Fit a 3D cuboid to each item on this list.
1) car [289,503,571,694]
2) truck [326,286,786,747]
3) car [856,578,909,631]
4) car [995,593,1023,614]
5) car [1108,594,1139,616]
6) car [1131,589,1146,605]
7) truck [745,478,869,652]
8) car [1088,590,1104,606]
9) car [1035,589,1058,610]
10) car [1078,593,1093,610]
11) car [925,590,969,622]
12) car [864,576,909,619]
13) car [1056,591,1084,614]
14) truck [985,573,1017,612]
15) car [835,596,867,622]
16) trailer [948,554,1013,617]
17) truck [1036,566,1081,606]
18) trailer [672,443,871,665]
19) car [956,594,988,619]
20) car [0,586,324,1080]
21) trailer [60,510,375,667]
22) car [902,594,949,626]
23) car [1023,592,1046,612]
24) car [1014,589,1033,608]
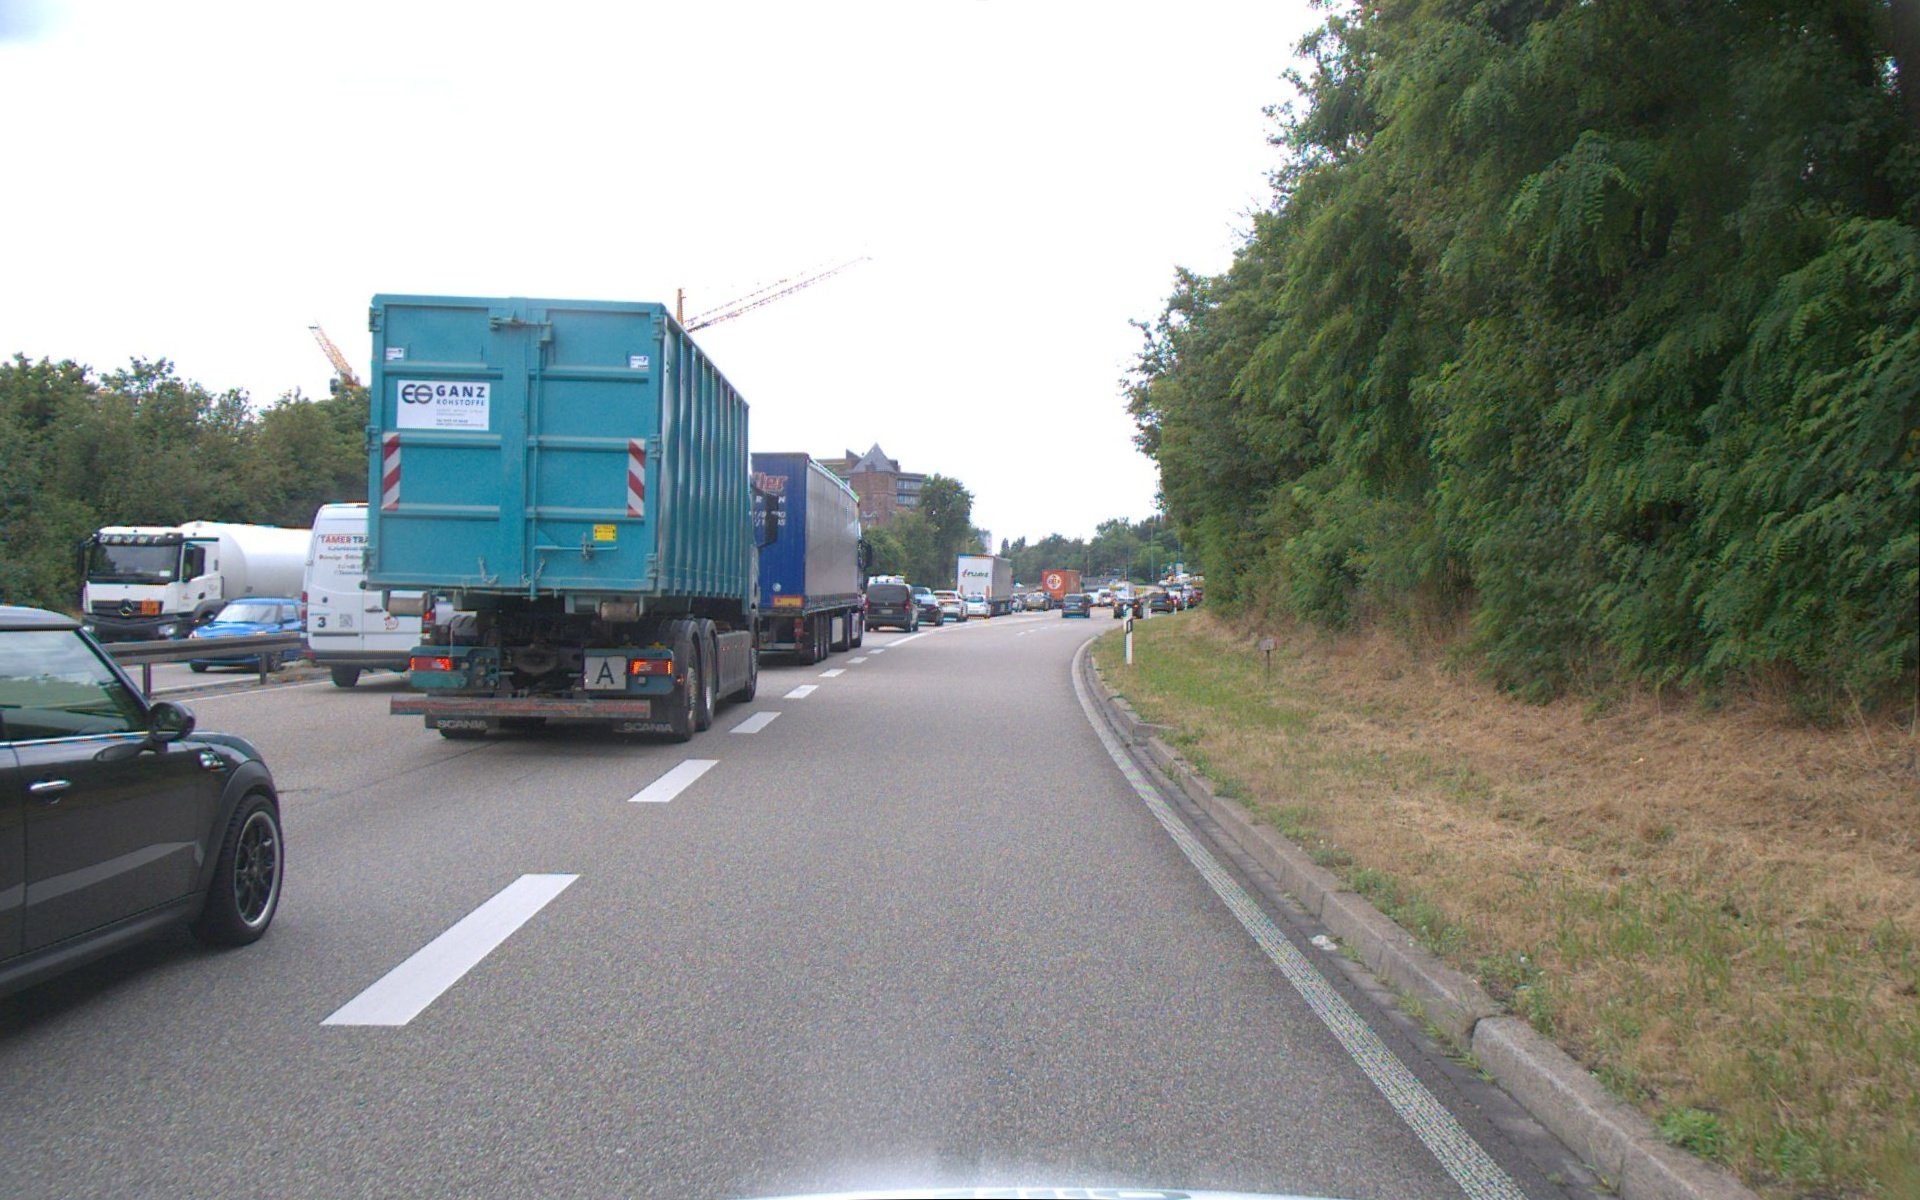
[{"bbox_3d":[-8.231,-0.003,26.604,2.176,2.623,6.798,1,0,1],"label":"car"},{"bbox_3d":[-3.993,-0.734,19.608,2.870,3.863,11.328,0,0,-1],"label":"truck"},{"bbox_3d":[-3.103,0.186,66.363,1.948,1.931,4.982,-3,0,-3],"label":"car"},{"bbox_3d":[4.125,0.316,138.832,1.761,1.632,4.261,1,0,8],"label":"car"},{"bbox_3d":[11.379,0.332,114.830,1.786,1.508,4.003,0,0,10],"label":"car"},{"bbox_3d":[23.562,-0.440,218.227,1.909,2.049,4.003,0,0,7],"label":"car"},{"bbox_3d":[-3.855,-0.830,42.990,2.508,4.113,6.589,1,0,0],"label":"truck"},{"bbox_3d":[17.572,-0.241,213.184,1.580,2.049,4.003,0,0,11],"label":"car"},{"bbox_3d":[8.602,-0.083,164.759,1.951,2.049,4.003,0,0,7],"label":"car"},{"bbox_3d":[15.371,0.216,201.848,1.580,1.982,3.708,1,0,8],"label":"car"},{"bbox_3d":[-0.700,0.308,92.251,1.915,1.724,4.869,0,0,6],"label":"car"},{"bbox_3d":[-4.609,-0.156,104.015,1.951,2.598,5.366,0,0,7],"label":"car"},{"bbox_3d":[7.583,0.164,114.690,1.787,1.508,4.001,0,0,2],"label":"car"},{"bbox_3d":[4.651,-0.778,184.841,2.680,4.211,10.704,1,0,6],"label":"truck"},{"bbox_3d":[-6.023,0.476,91.560,1.410,1.411,3.049,0,0,3],"label":"car"},{"bbox_3d":[1.550,-0.904,116.678,3.229,4.107,13.106,1,0,6],"label":"trailer"},{"bbox_3d":[10.734,-1.460,179.464,3.415,4.144,13.603,0,0,10],"label":"truck"},{"bbox_3d":[-3.890,-0.827,37.694,2.572,4.093,13.465,1,0,1],"label":"trailer"},{"bbox_3d":[0.778,0.411,103.639,1.727,1.504,4.091,0,0,4],"label":"car"},{"bbox_3d":[-3.686,0.674,5.617,1.712,1.447,3.662,0,0,-2],"label":"car"},{"bbox_3d":[-18.645,-0.274,42.836,2.419,3.455,12.463,0,0,1],"label":"trailer"},{"bbox_3d":[-1.631,0.484,79.680,1.808,1.485,4.833,1,0,3],"label":"car"},{"bbox_3d":[6.753,0.183,149.702,1.681,1.713,4.003,1,0,8],"label":"car"},{"bbox_3d":[6.931,-0.124,180.006,1.779,2.049,4.003,0,0,7],"label":"car"}]
